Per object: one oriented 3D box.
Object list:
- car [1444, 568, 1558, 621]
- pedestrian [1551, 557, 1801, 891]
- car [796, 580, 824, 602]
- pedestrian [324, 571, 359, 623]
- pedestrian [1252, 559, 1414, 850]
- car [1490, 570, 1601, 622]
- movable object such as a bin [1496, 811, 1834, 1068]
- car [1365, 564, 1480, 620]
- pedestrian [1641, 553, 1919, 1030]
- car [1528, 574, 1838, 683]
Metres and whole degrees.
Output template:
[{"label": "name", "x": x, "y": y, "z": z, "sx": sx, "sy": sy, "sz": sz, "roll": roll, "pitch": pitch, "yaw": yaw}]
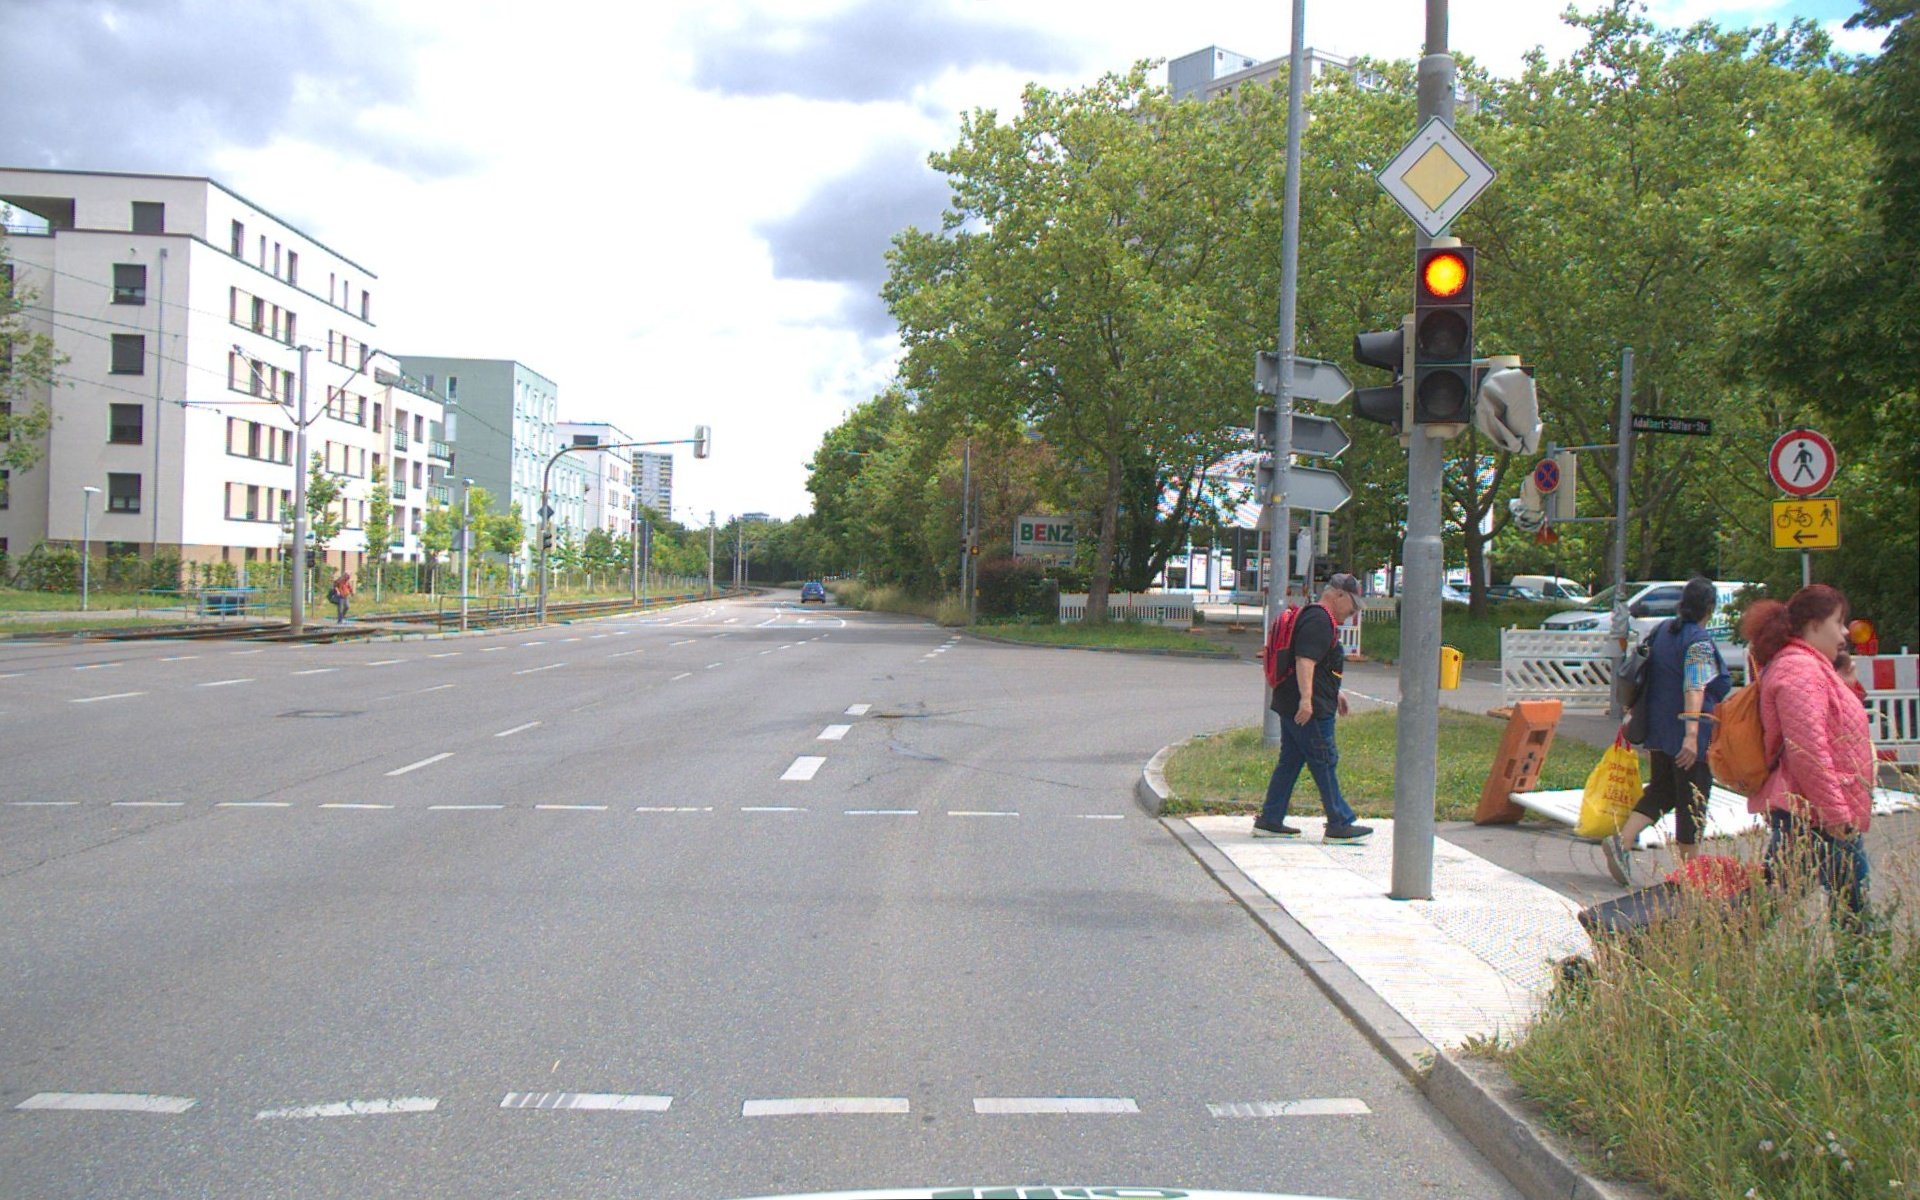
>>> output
[{"label": "car", "x": 21.368, "y": -0.234, "z": 65.468, "sx": 1.974, "sy": 2.049, "sz": 3.957, "roll": 0, "pitch": 1, "yaw": -32}, {"label": "pedestrian", "x": 3.703, "y": 0.609, "z": 8.637, "sx": 0.893, "sy": 1.635, "sz": 0.929, "roll": 1, "pitch": 0, "yaw": 1}, {"label": "car", "x": -10.886, "y": -0.685, "z": 119.822, "sx": 1.944, "sy": 1.512, "sz": 4.485, "roll": 1, "pitch": 1, "yaw": -6}, {"label": "pedestrian", "x": -18.761, "y": -0.091, "z": 50.203, "sx": 0.814, "sy": 1.542, "sz": 0.636, "roll": 1, "pitch": 0, "yaw": -1}, {"label": "pedestrian", "x": 2.215, "y": 0.578, "z": 9.814, "sx": 0.873, "sy": 1.624, "sz": 0.909, "roll": 1, "pitch": 0, "yaw": 14}, {"label": "car", "x": 23.936, "y": -0.181, "z": 67.704, "sx": 1.974, "sy": 2.049, "sz": 3.957, "roll": 0, "pitch": 1, "yaw": -32}, {"label": "movable object such as a bin", "x": 2.295, "y": 1.094, "z": 5.475, "sx": 0.779, "sy": 0.673, "sz": 0.778, "roll": 1, "pitch": 0, "yaw": -1}, {"label": "car", "x": 17.523, "y": -0.313, "z": 62.835, "sx": 1.974, "sy": 2.049, "sz": 3.957, "roll": 0, "pitch": 1, "yaw": -32}, {"label": "pedestrian", "x": 3.014, "y": 0.635, "z": 5.875, "sx": 0.863, "sy": 1.582, "sz": 0.746, "roll": 1, "pitch": 0, "yaw": -1}, {"label": "car", "x": 13.421, "y": 0.505, "z": 30.869, "sx": 4.976, "sy": 1.906, "sz": 1.947, "roll": 1, "pitch": 0, "yaw": -5}]
